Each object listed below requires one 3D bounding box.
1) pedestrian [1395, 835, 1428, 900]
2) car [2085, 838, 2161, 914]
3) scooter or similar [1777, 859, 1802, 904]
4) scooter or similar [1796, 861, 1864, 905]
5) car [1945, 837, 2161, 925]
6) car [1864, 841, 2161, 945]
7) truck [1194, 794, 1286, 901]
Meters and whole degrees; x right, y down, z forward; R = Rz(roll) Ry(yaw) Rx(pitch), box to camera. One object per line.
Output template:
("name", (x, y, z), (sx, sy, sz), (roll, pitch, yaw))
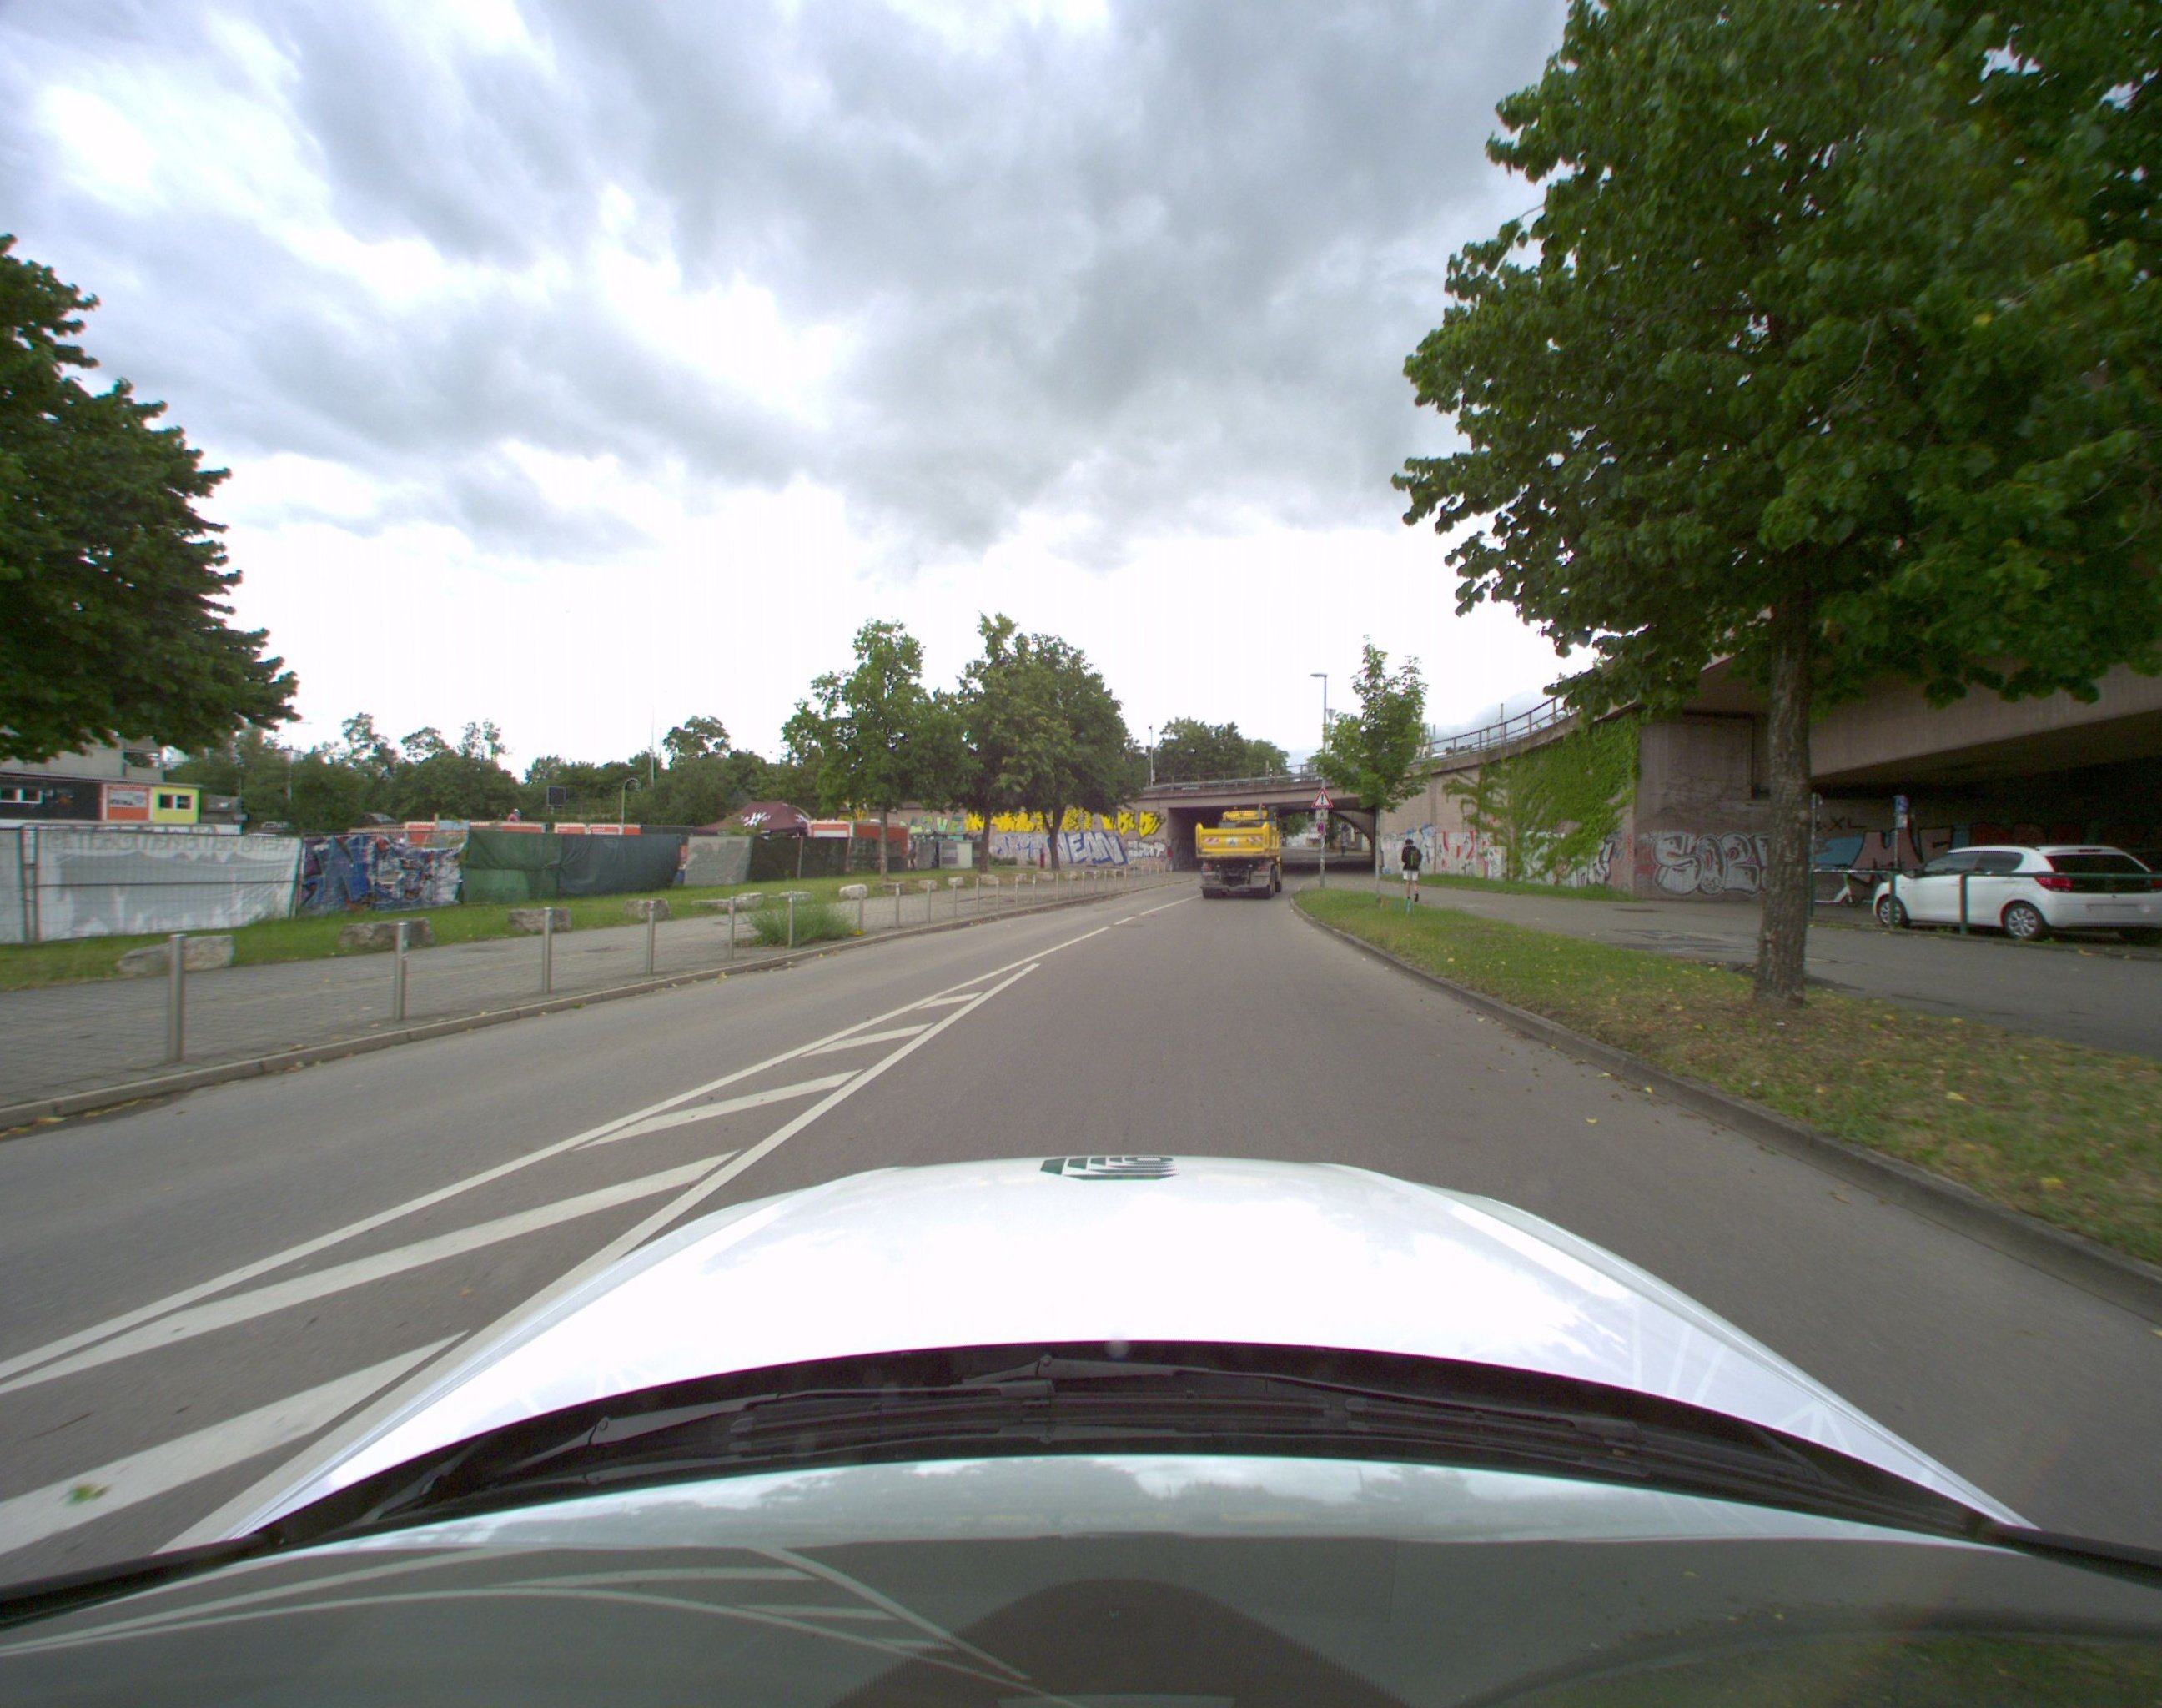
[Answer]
("pedestrian", (9.933, 0.399, 24.489), (0.730, 1.907, 0.827), (0, 0, 8))
("car", (23.156, 0.449, 16.264), (3.831, 1.478, 1.760), (1, 1, 4))
("scooter or similar", (18.688, 0.716, 21.469), (1.689, 1.129, 0.266), (0, 0, -42))
("scooter or similar", (20.329, 0.763, 22.137), (0.269, 1.129, 1.430), (0, 0, -17))
("car", (19.329, 0.437, 15.770), (1.731, 1.498, 4.017), (0, 1, 16))
("car", (14.907, 0.542, 13.236), (1.564, 1.440, 3.387), (1, 0, 11))
("truck", (6.473, -0.226, 32.130), (2.736, 3.698, 7.915), (1, 0, 17))
